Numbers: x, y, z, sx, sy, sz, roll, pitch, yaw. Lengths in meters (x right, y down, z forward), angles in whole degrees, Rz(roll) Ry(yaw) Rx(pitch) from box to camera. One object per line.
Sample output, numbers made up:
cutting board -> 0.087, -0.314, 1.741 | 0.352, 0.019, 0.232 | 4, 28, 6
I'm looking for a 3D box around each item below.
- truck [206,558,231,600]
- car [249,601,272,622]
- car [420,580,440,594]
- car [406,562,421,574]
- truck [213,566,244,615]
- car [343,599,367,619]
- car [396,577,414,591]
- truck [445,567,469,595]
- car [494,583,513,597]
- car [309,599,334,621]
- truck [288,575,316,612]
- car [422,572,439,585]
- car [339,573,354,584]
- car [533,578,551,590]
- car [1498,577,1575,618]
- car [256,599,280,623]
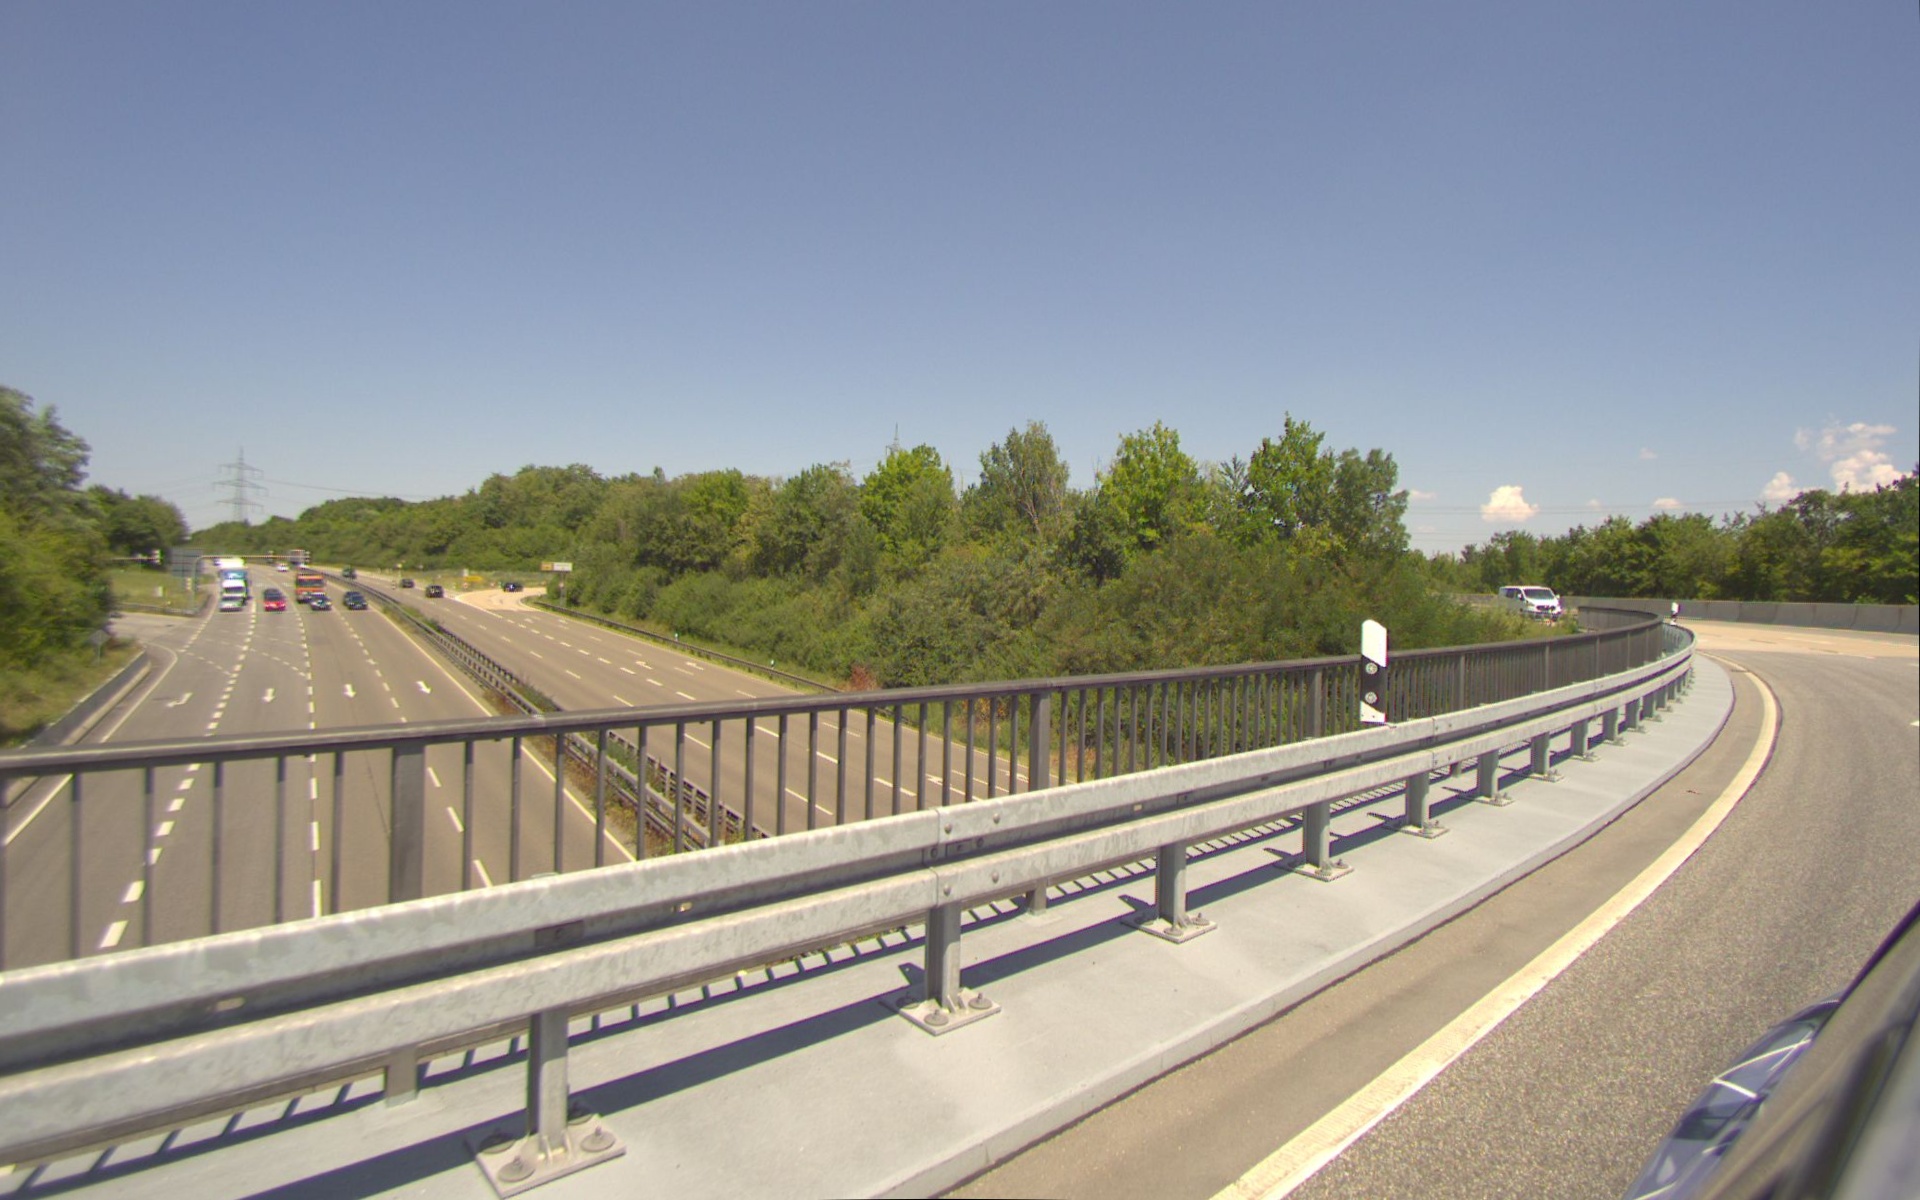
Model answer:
truck -> -92.872, -2.674, 126.695 | 2.378, 5.031, 11.075 | 0, 1, -37
car -> -74.341, 1.216, 107.510 | 1.962, 2.038, 4.001 | 0, 2, -35
car -> -70.359, -1.743, 134.279 | 1.962, 1.880, 4.001 | 0, 2, -35
car -> -98.374, -5.730, 182.223 | 1.962, 2.038, 4.001 | 0, 2, -35
truck -> -80.022, -1.162, 110.673 | 2.530, 5.072, 12.401 | 0, 2, -37
car -> -64.194, 0.940, 107.384 | 1.962, 2.038, 4.001 | 0, 2, -35
car -> -86.355, -2.495, 157.452 | 1.962, 2.038, 4.001 | 0, 2, -35
truck -> -75.931, -2.918, 152.657 | 1.962, 4.000, 9.084 | 0, 1, -35
car -> -70.321, -1.585, 155.863 | 1.962, 2.038, 4.001 | 0, 2, -35
car -> -66.012, 1.018, 104.605 | 1.962, 2.038, 4.001 | 0, 2, -35
truck -> -75.283, -0.812, 115.807 | 2.660, 4.060, 8.888 | 0, 1, -33
car -> -89.422, -3.638, 170.889 | 1.962, 2.038, 4.001 | 0, 2, -35
car -> -110.876, -3.898, 182.869 | 1.962, 2.038, 4.001 | 0, 2, -35
car -> -71.649, -2.808, 173.623 | 1.959, 2.038, 4.007 | 0, 1, -9
car -> 33.733, -0.207, 59.409 | 1.999, 2.110, 5.858 | 1, 2, 10
car -> -70.357, 1.092, 102.874 | 1.946, 2.237, 4.001 | 0, 1, -35
